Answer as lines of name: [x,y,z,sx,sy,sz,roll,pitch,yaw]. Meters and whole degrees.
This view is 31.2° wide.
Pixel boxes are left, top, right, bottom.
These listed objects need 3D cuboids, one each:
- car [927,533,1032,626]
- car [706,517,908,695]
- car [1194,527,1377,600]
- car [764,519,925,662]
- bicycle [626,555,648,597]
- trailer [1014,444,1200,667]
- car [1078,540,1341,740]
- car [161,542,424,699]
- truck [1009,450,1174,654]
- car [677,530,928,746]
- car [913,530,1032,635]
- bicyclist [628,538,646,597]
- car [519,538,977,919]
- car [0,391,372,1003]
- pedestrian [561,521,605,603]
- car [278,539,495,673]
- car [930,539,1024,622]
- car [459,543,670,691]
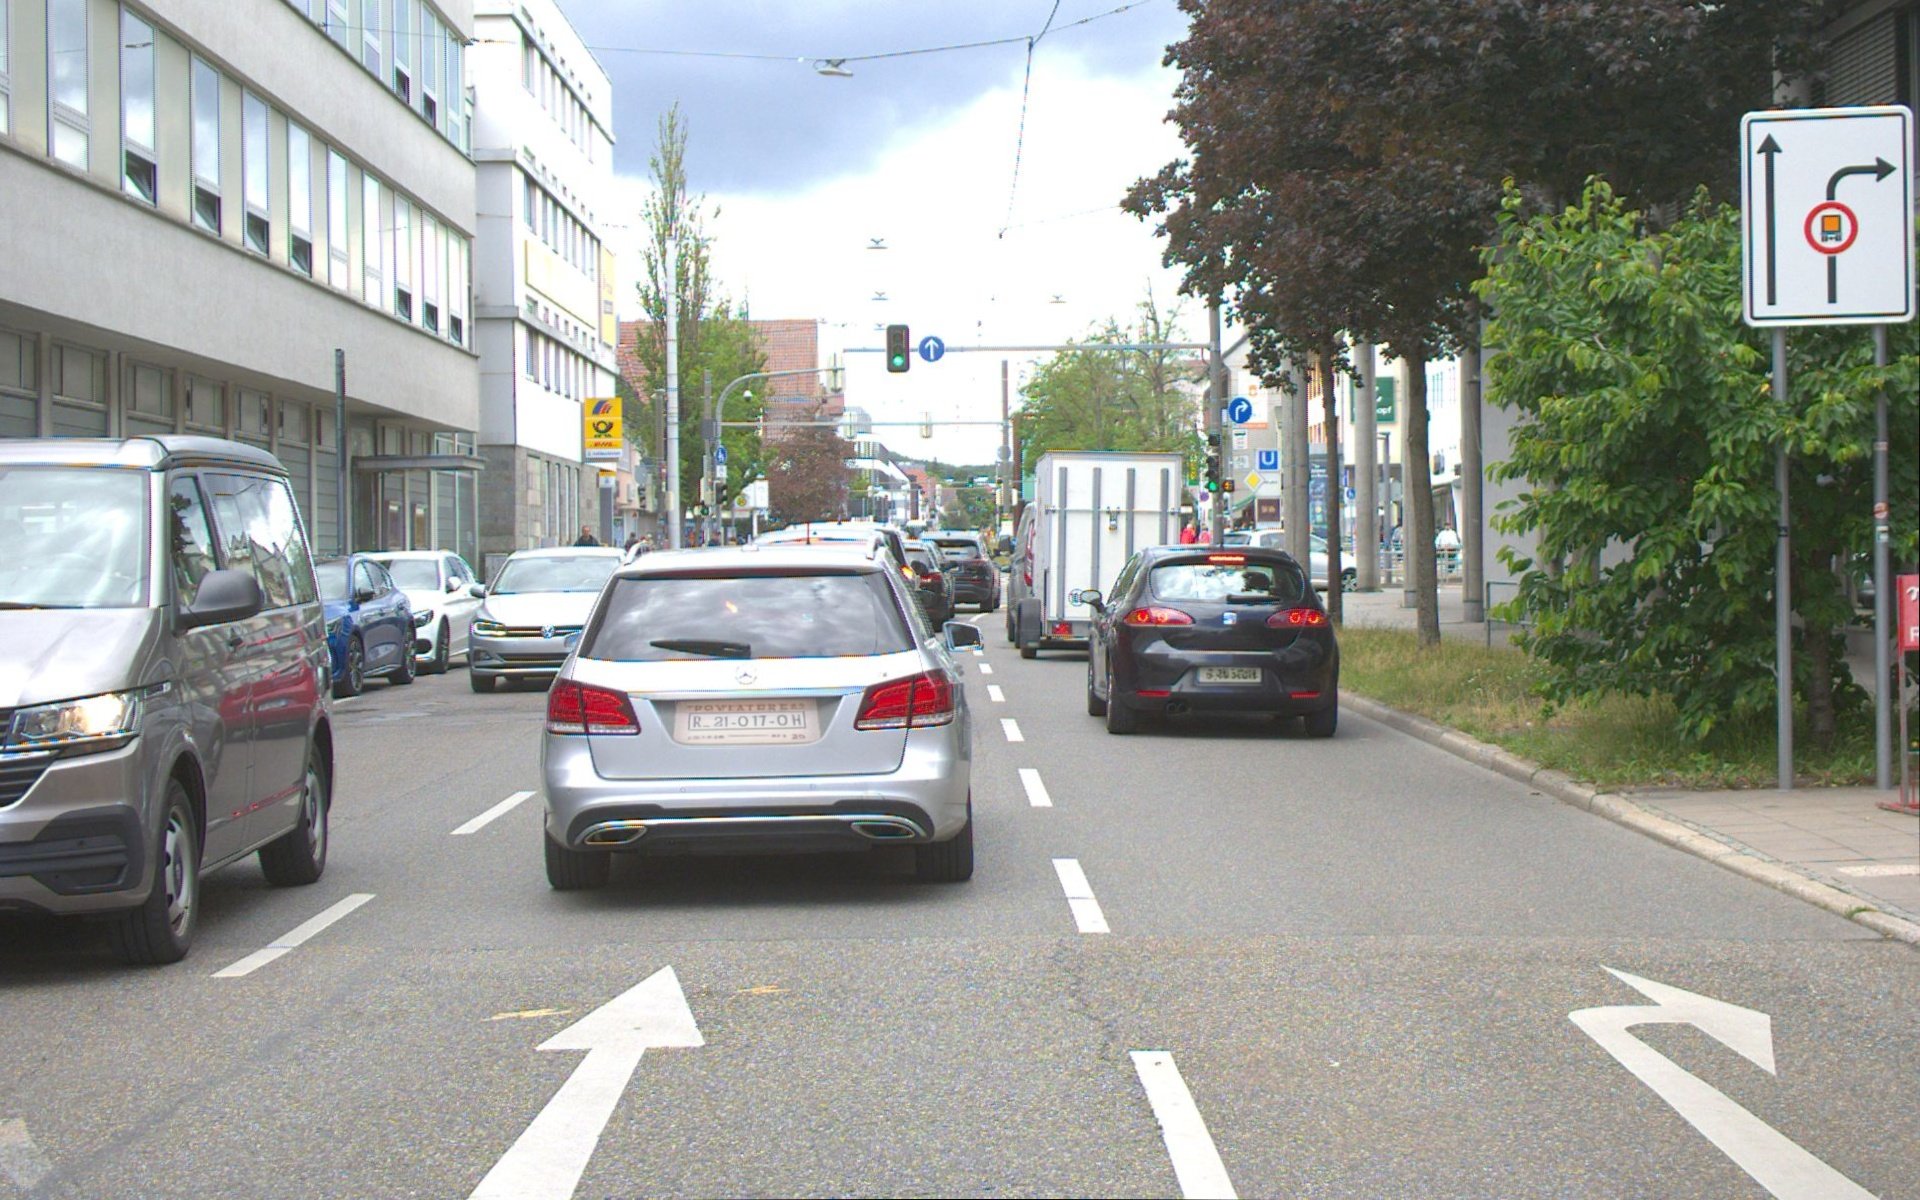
car: [0.322,-0.395,61.748,1.803,1.596,3.738,1,1,-1]
car: [-1.410,0.017,32.877,1.803,1.596,3.738,1,1,-1]
car: [7.695,-0.854,81.090,3.987,1.645,1.844,0,1,-33]
car: [-1.338,-0.148,40.665,1.803,1.596,3.738,1,1,-1]
bicycle: [-9.285,-0.694,98.844,0.445,1.163,1.921,1,1,-1]
trailer: [1.767,-0.581,43.045,1.993,2.598,5.350,-1,1,-1]
car: [1.892,0.261,27.087,1.765,1.428,3.828,0,1,0]
car: [-6.935,0.166,36.124,1.993,1.511,4.175,-1,1,-1]
truck: [1.715,-0.648,45.875,1.993,2.598,3.260,-1,1,-1]
car: [-1.174,0.238,26.803,1.803,1.547,3.738,-1,1,-1]
car: [0.171,-0.305,54.680,1.803,1.596,3.738,1,1,-1]
bicyclist: [-9.290,-0.945,98.917,0.445,1.691,0.555,1,1,-1]
car: [-0.873,0.476,15.531,1.803,1.487,3.738,-1,1,-1]
car: [-3.776,0.299,13.804,1.993,2.007,4.903,-2,1,-1]
pedestrian: [-8.650,-0.876,78.950,0.918,1.862,0.783,-1,1,-1]
car: [-6.911,0.034,41.829,1.993,1.511,4.175,-1,1,-1]
car: [0.311,-0.410,69.083,1.803,1.596,3.738,1,1,-1]
car: [-4.113,0.133,36.332,1.769,1.408,4.175,-2,1,-1]
